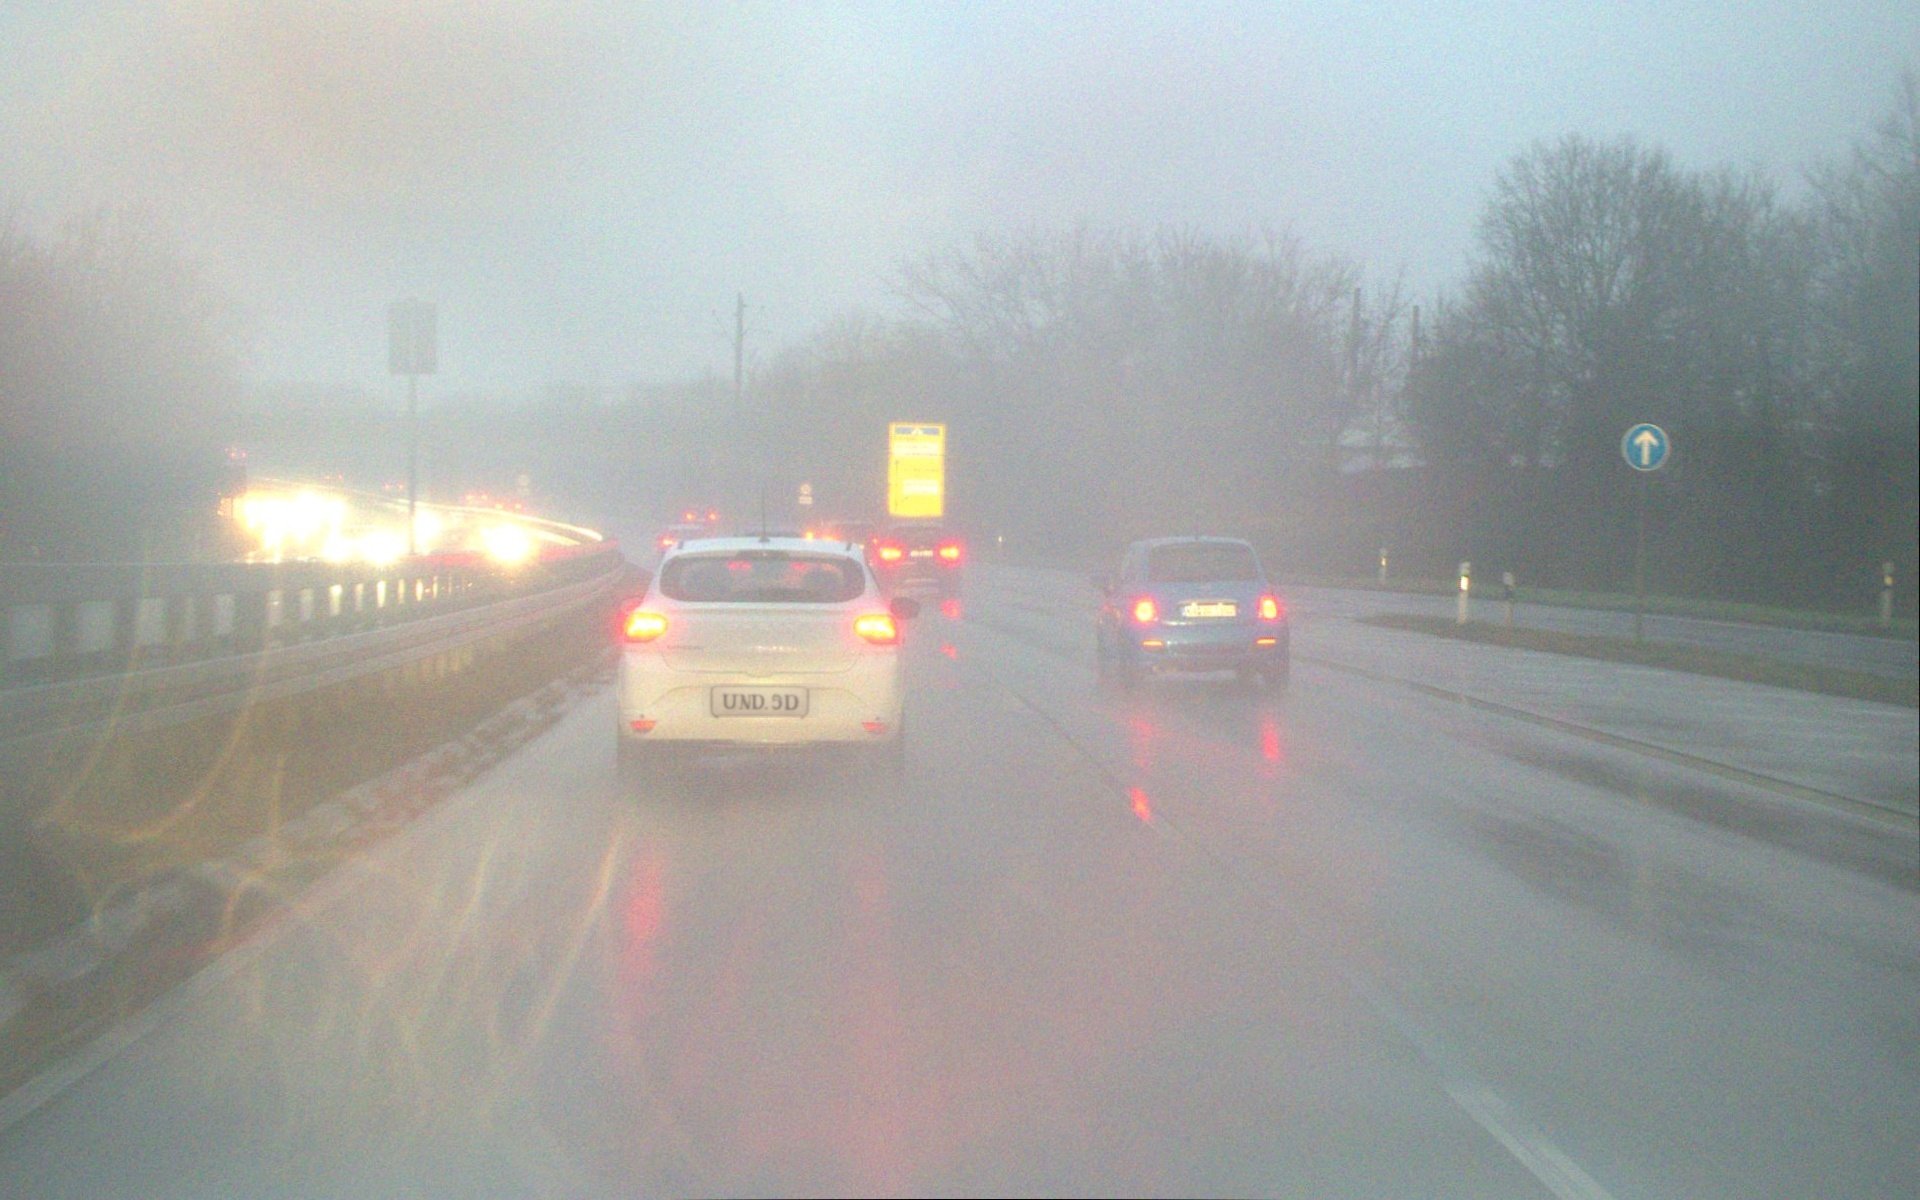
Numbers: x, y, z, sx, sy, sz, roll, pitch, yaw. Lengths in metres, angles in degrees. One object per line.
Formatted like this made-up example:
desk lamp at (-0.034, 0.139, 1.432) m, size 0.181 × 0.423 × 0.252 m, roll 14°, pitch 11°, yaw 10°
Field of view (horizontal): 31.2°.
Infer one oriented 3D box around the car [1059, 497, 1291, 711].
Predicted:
car at (2.110, 0.007, 34.685) m, size 1.932 × 2.012 × 3.774 m, roll 1°, pitch 1°, yaw -2°

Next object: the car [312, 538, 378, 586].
car at (-20.633, -1.288, 115.509) m, size 1.703 × 1.561 × 4.851 m, roll 1°, pitch 1°, yaw -5°

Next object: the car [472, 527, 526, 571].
car at (-16.052, -1.800, 119.893) m, size 1.616 × 1.479 × 4.600 m, roll 1°, pitch 1°, yaw -5°

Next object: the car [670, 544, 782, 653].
car at (-4.530, -0.059, 66.092) m, size 1.993 × 2.007 × 4.001 m, roll 1°, pitch 1°, yaw -6°

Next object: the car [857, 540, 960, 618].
car at (-1.188, -0.465, 77.295) m, size 1.932 × 1.541 × 3.774 m, roll -5°, pitch 1°, yaw -5°

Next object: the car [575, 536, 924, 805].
car at (-1.272, 0.383, 22.434) m, size 2.025 × 1.569 × 4.000 m, roll 1°, pitch 1°, yaw 0°

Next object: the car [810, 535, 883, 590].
car at (-3.306, -1.107, 99.626) m, size 1.932 × 1.541 × 3.774 m, roll 1°, pitch 1°, yaw -4°
